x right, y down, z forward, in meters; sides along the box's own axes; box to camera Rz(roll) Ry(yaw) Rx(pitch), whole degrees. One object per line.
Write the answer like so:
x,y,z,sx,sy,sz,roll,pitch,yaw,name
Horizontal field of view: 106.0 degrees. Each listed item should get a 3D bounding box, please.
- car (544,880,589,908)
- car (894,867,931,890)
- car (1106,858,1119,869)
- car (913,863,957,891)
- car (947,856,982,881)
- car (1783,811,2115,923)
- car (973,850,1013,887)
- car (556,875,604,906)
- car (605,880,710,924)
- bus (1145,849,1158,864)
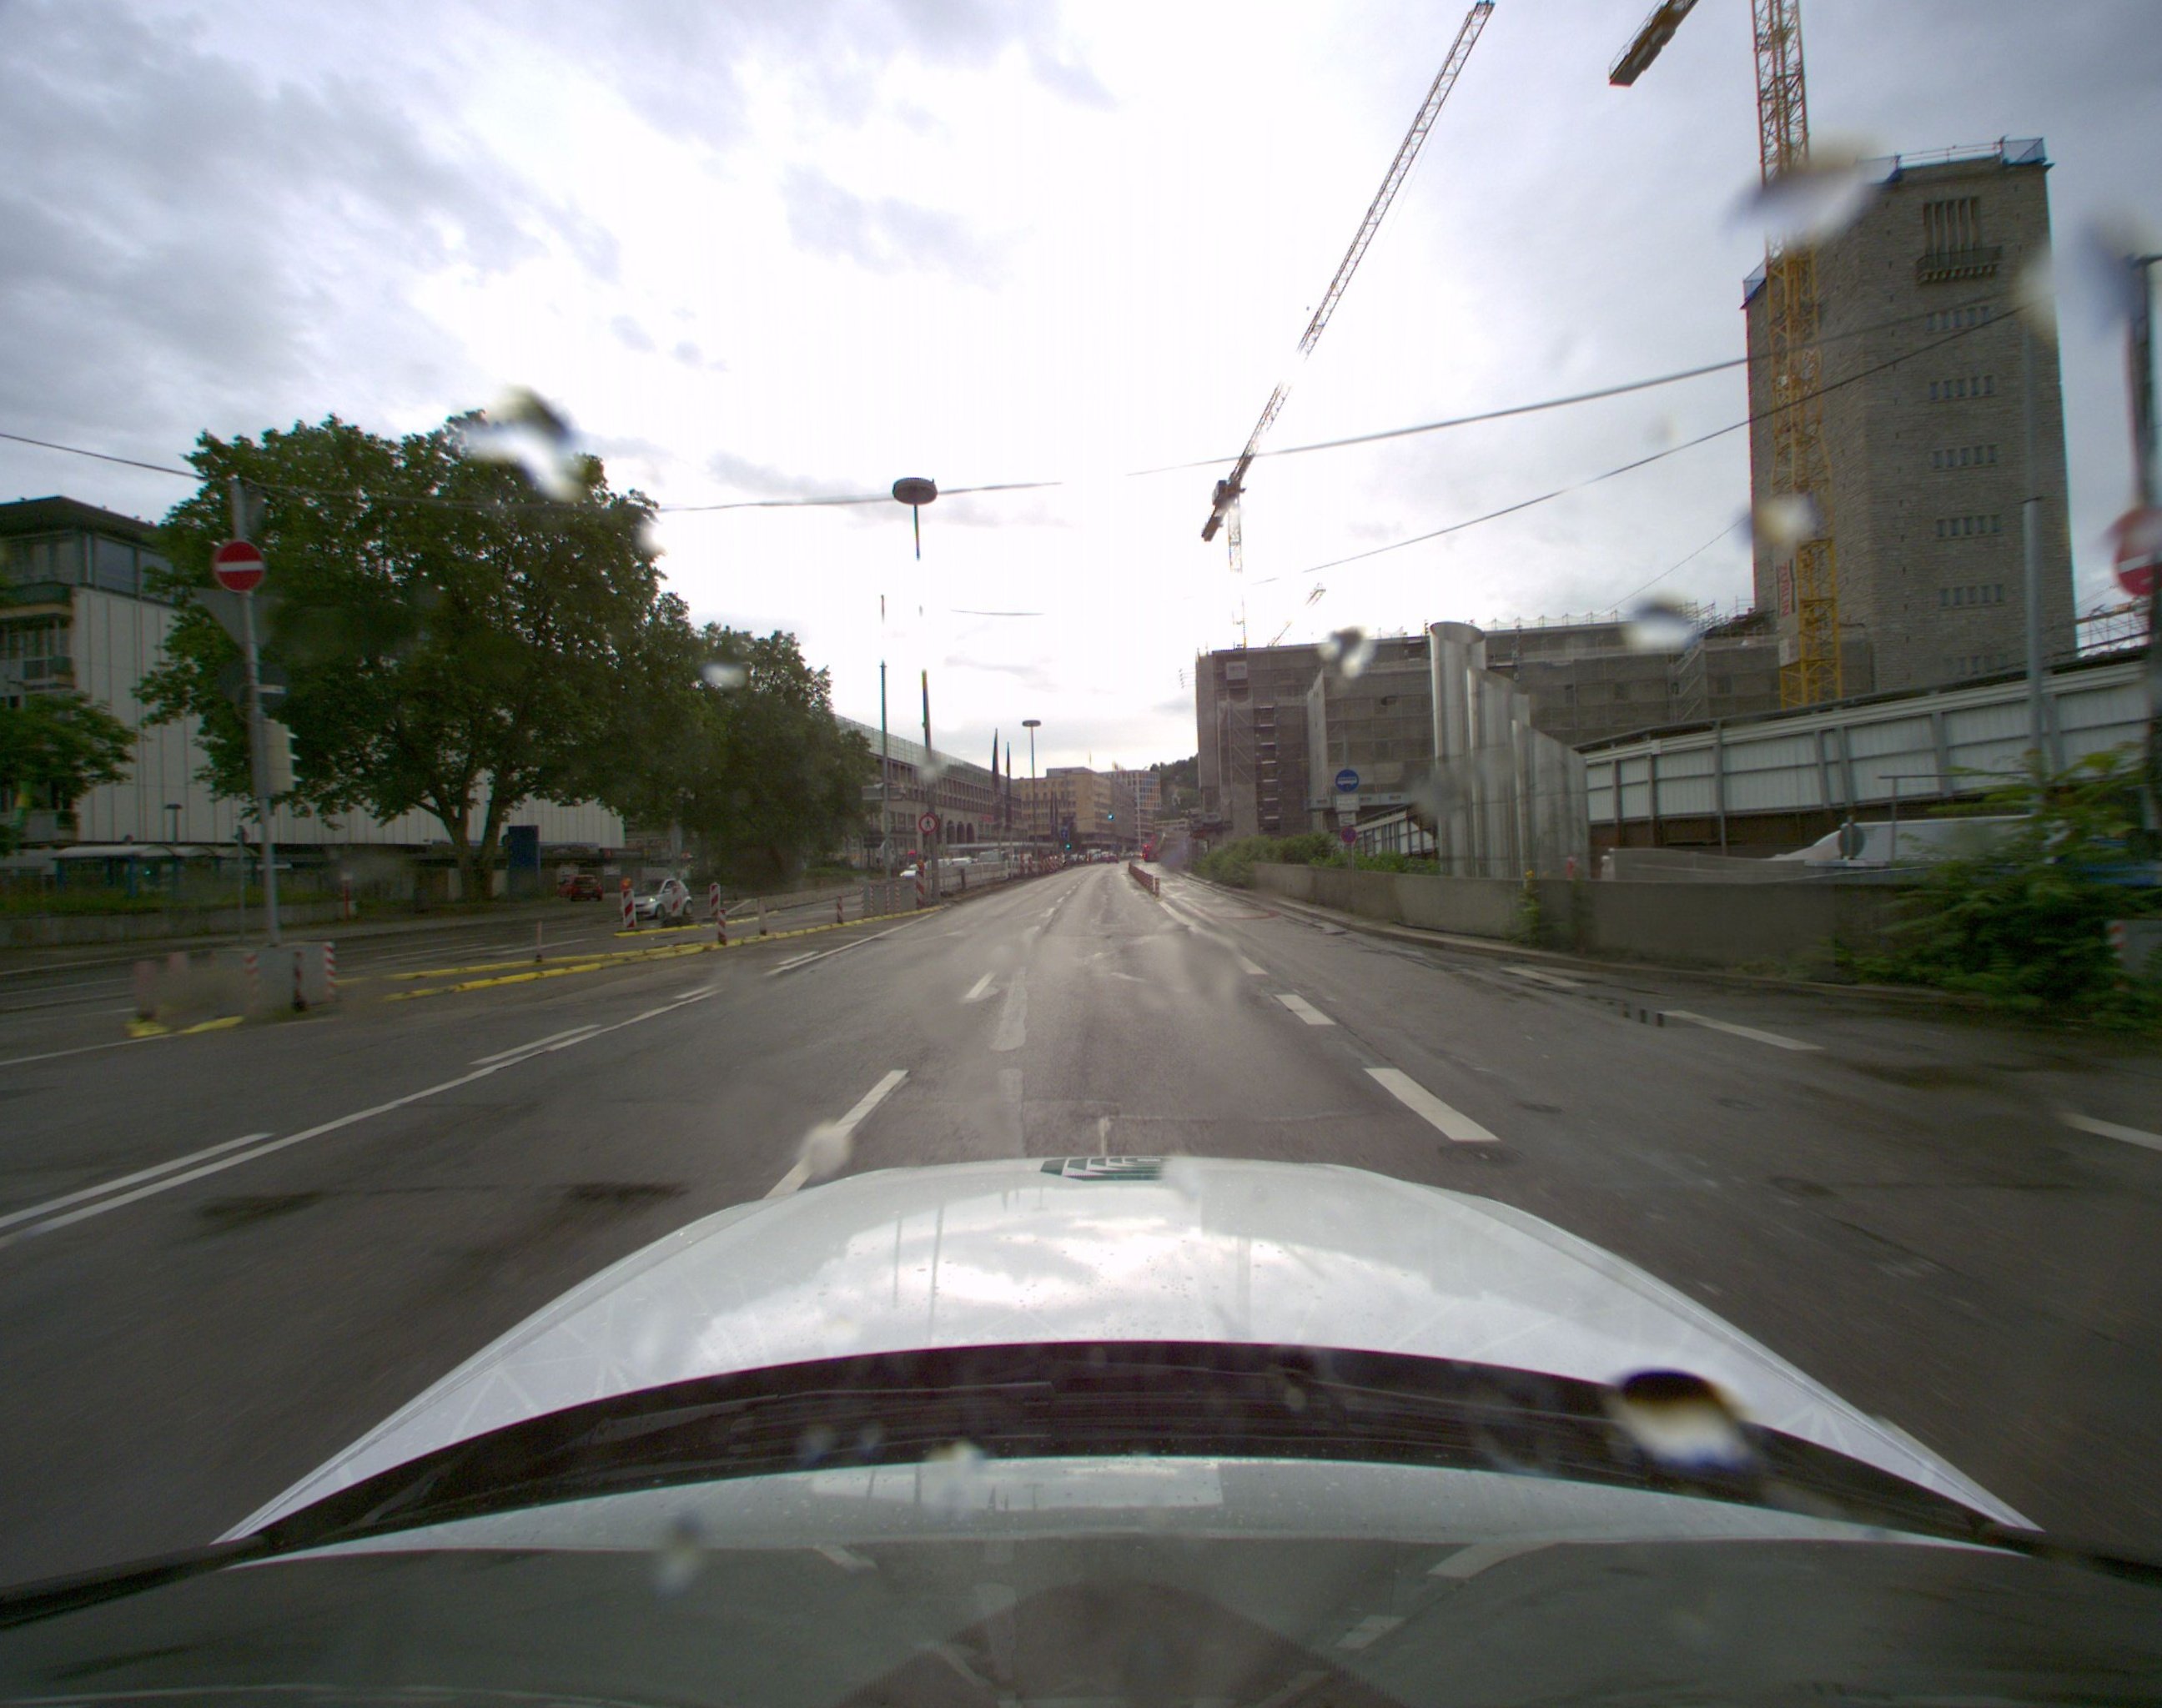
-32.098,2.504,50.754,1.917,1.528,3.958,-1,-4,-38,car
-13.164,1.950,63.841,1.896,1.528,4.176,-4,-3,0,car
5.166,1.575,134.193,1.896,1.528,4.176,-4,-3,0,car
-9.199,1.486,51.564,1.896,1.528,4.176,-4,-3,0,car
-8.583,1.105,60.288,1.896,1.528,4.176,-4,-3,0,car
19.059,0.254,18.156,2.366,2.132,4.821,-1,0,-40,car
-5.599,0.956,52.266,1.896,2.083,4.176,-4,-3,0,car
-28.836,2.133,46.809,1.917,1.528,3.958,-1,-4,-38,car
-16.696,1.889,32.358,1.896,1.528,4.176,-4,-3,0,car
12.530,0.505,144.363,1.982,2.432,4.008,-4,-3,8,bus
